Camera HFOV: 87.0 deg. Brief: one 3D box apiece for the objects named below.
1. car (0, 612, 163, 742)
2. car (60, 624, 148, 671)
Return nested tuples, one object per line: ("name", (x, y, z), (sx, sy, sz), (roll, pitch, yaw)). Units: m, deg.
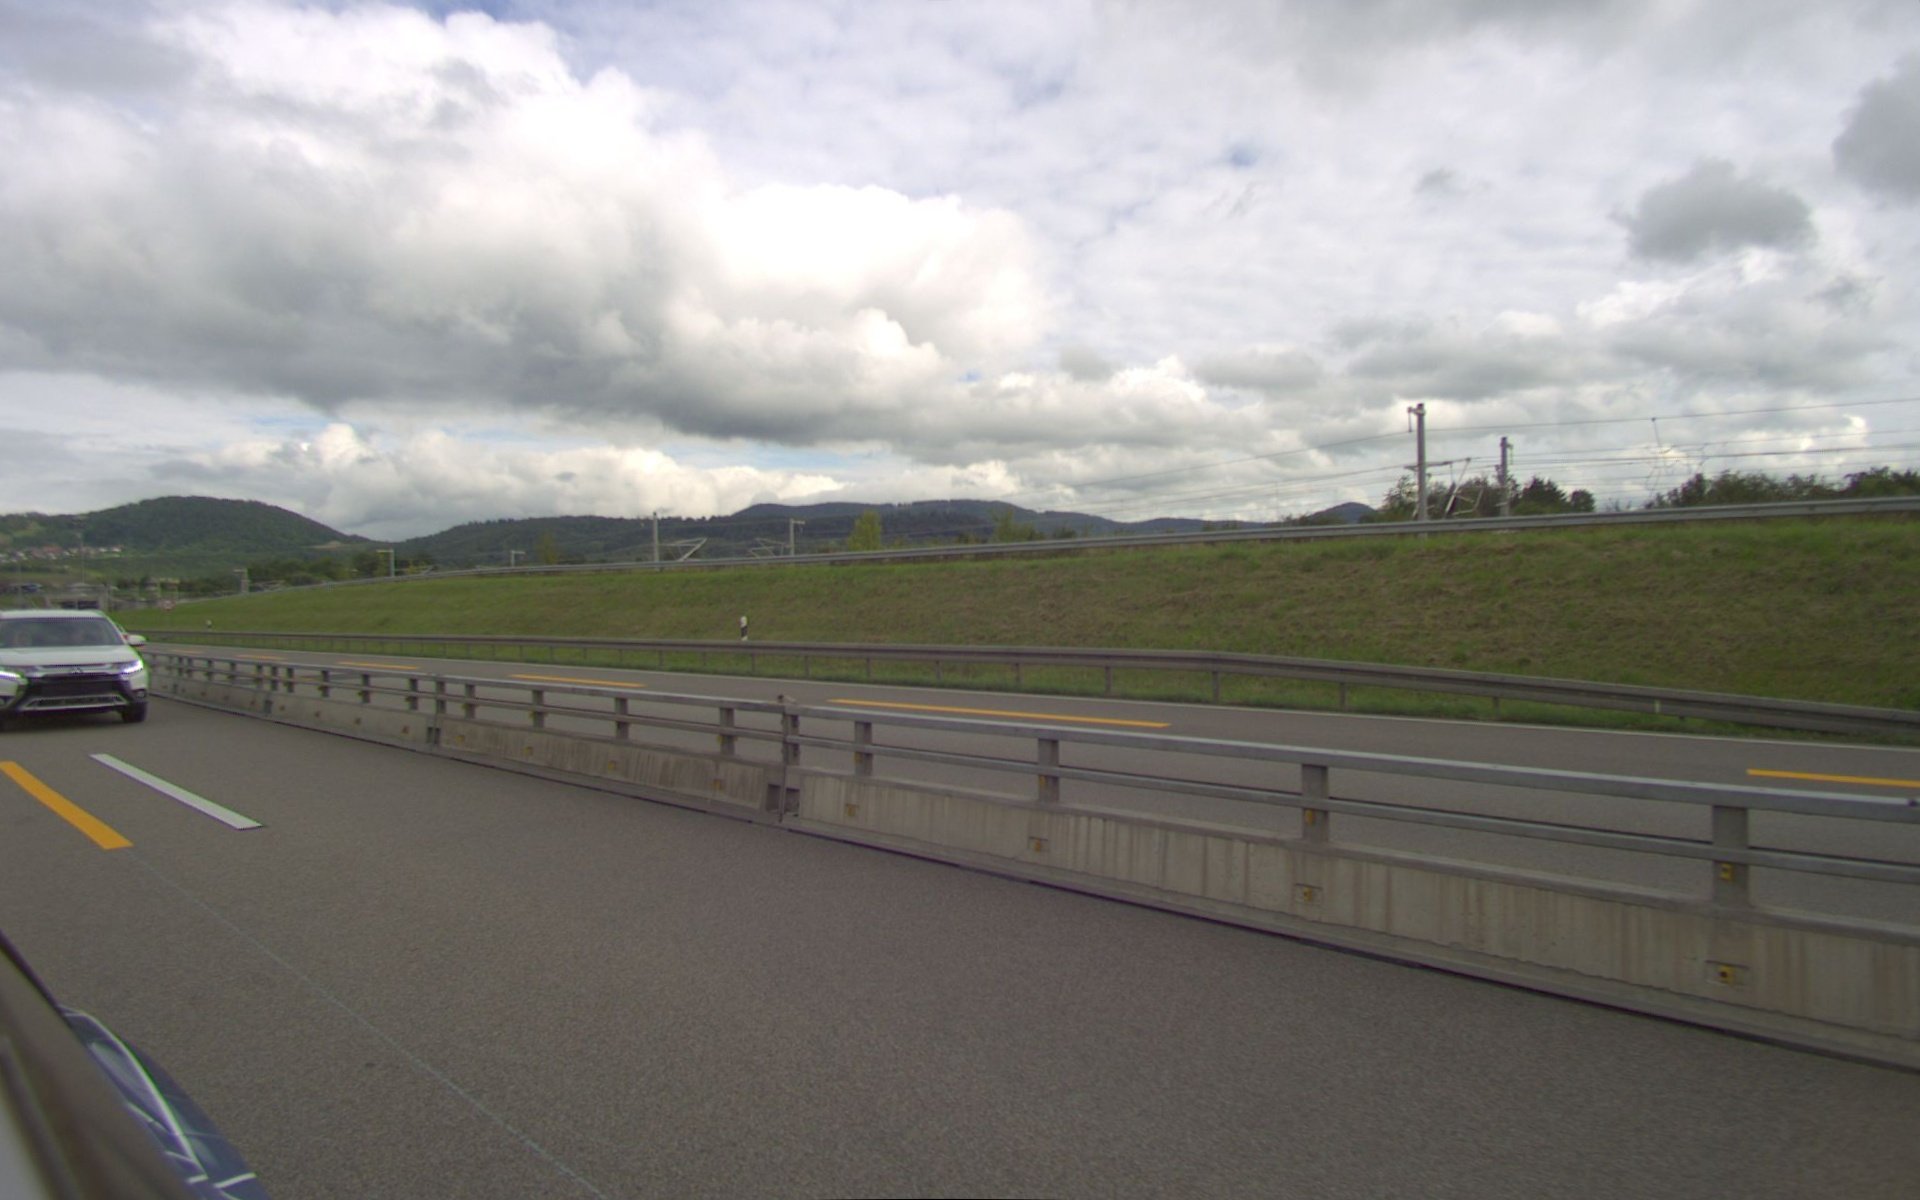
("car", (-13.421, 1.022, 14.866), (4.606, 1.640, 1.972), (-1, -1, 42))
("car", (-28.394, 1.534, 33.533), (3.999, 1.398, 1.738), (-1, -1, 43))
